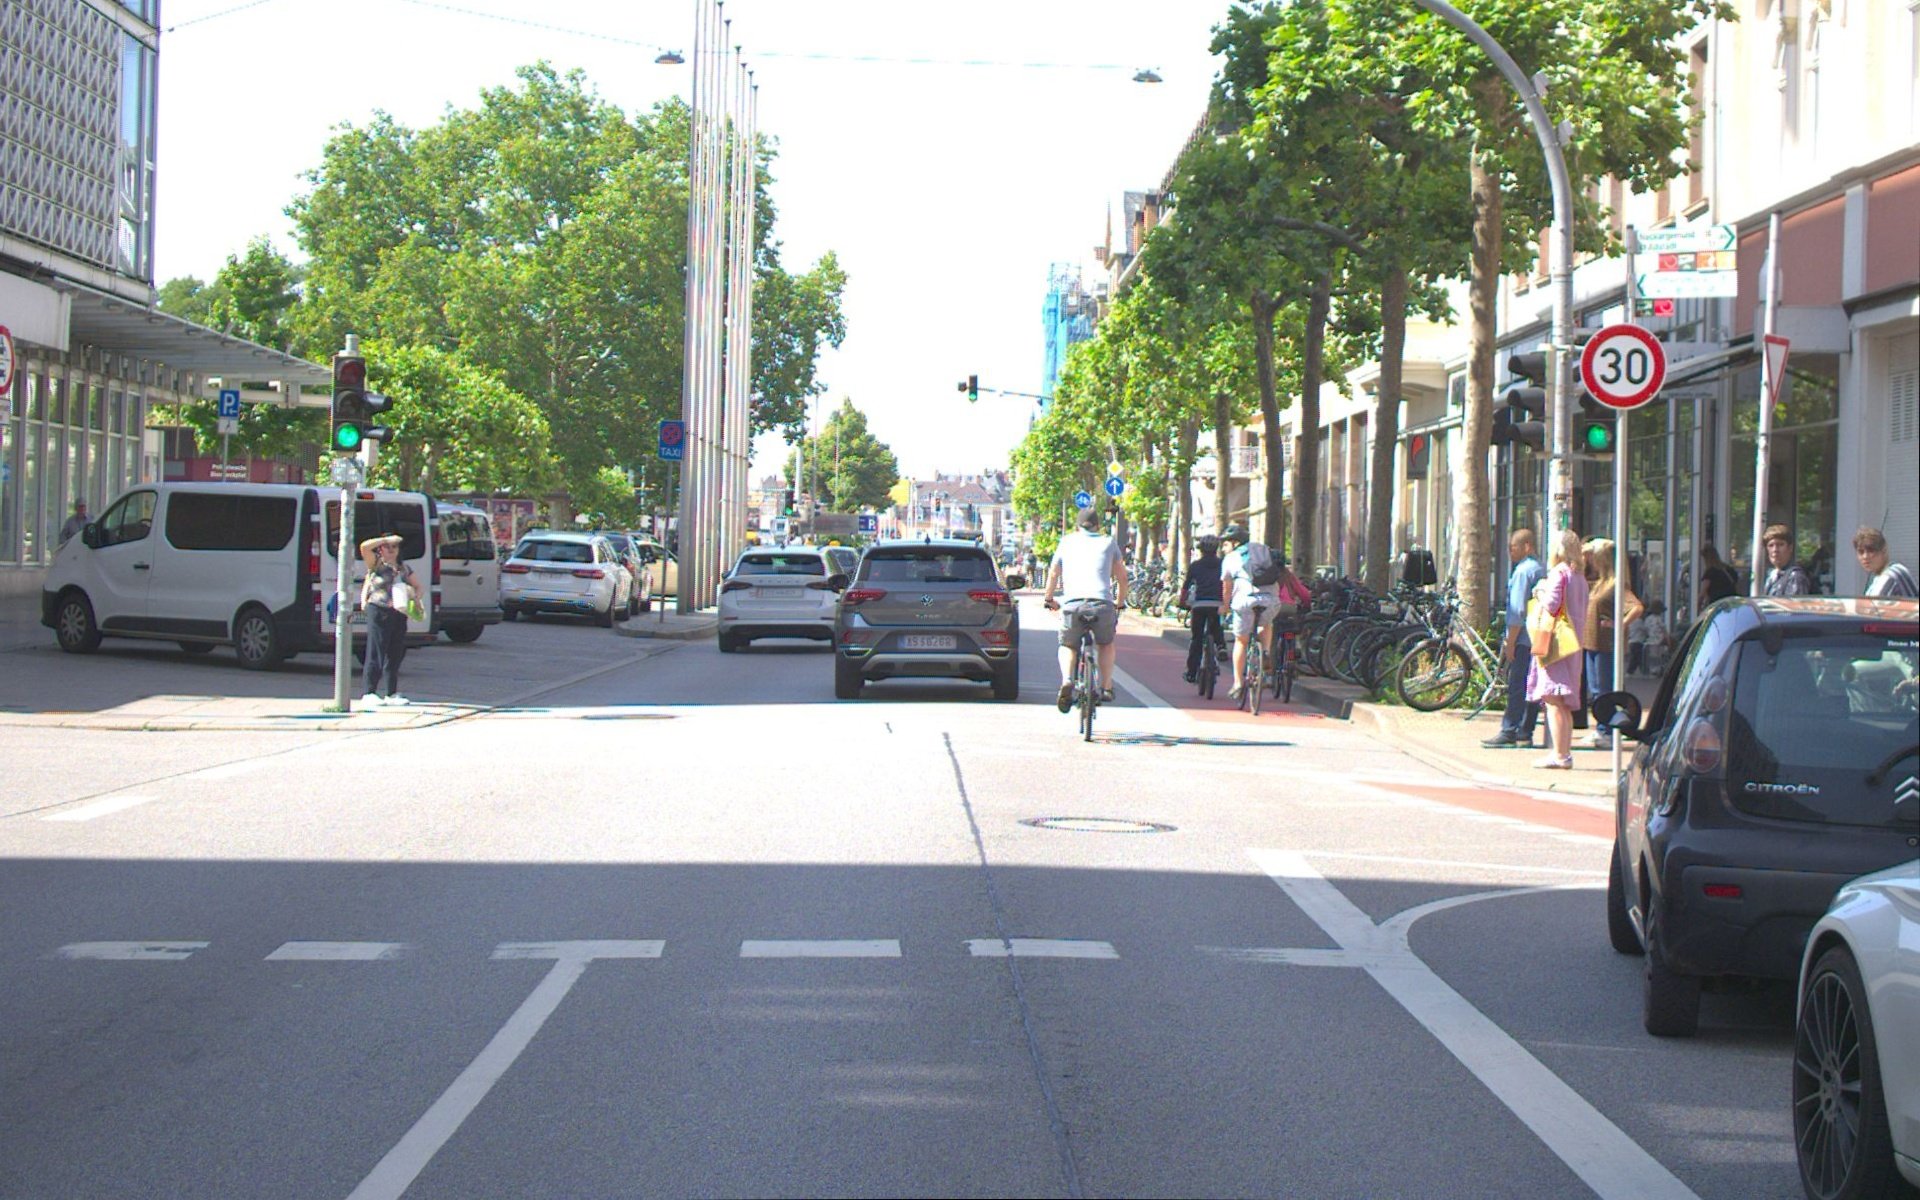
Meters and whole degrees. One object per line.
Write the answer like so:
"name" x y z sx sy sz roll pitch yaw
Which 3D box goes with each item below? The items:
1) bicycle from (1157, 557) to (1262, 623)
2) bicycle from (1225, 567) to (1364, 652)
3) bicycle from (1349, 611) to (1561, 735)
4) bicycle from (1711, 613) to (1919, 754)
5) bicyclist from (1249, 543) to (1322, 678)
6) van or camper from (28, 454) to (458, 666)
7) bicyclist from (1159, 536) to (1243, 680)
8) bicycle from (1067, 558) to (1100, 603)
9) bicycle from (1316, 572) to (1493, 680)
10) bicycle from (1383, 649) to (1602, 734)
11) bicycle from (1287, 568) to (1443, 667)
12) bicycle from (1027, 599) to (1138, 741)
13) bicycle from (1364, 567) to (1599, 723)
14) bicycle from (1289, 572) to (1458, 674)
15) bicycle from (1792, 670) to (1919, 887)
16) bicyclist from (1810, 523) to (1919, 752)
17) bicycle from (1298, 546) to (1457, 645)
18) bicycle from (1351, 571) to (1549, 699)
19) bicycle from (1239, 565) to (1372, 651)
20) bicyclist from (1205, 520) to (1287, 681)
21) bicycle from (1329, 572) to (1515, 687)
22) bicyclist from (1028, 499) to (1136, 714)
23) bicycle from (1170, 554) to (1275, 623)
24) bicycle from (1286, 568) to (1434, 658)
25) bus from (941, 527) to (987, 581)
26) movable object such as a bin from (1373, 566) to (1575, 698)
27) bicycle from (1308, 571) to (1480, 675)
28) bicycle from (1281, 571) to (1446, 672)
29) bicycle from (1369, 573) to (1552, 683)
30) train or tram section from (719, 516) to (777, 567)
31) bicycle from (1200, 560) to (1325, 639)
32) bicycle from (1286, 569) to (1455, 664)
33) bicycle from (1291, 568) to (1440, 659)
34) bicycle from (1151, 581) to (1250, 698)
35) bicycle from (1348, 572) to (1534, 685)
"bicycle" 4.631 -0.192 63.807 1.841 1.123 0.497 3 1 11
"bicycle" 4.671 0.134 48.048 1.840 1.089 0.564 3 0 0
"bicycle" 4.733 0.705 32.963 1.851 0.395 1.019 9 -34 4
"bicycle" 5.670 0.524 21.494 1.821 0.841 0.501 1 1 1
"bicyclist" 3.348 0.105 35.413 0.600 1.353 0.721 2 0 -3
"van or camper" -7.790 -0.461 37.143 4.656 2.006 1.995 4 2 39
"bicyclist" 2.483 0.076 35.459 0.698 1.436 0.791 3 1 -3
"bicycle" 2.811 -0.452 78.522 0.647 0.994 2.031 2 1 0
"bicycle" 4.826 0.278 37.415 1.840 1.123 0.643 1 0 2
"bicycle" 4.963 0.863 32.162 1.136 0.432 1.856 -10 -3 -26
"bicycle" 5.076 0.219 43.101 1.841 1.123 0.530 3 0 13
"bicycle" 0.937 0.522 26.785 0.774 1.002 2.329 1 1 0
"bicycle" 4.577 0.377 30.227 1.855 1.184 0.715 6 5 38
"bicycle" 4.717 0.258 39.275 1.840 1.123 0.666 1 0 2
"bicycle" 5.840 1.003 18.486 2.567 1.123 0.627 2 0 19
"bicyclist" 5.818 0.231 21.492 0.859 1.406 0.501 1 1 1
"bicycle" 4.972 -0.059 40.980 1.840 1.123 0.679 2 1 6
"bicycle" 4.809 0.334 33.758 1.841 1.123 0.345 4 2 15
"bicycle" 4.698 0.115 46.693 1.840 1.123 0.594 1 0 -36
"bicyclist" 2.680 -0.002 32.296 0.630 1.476 1.198 1 1 -1
"bicycle" 4.704 0.295 35.071 1.840 1.123 0.666 1 0 7
"bicyclist" 0.944 0.039 26.759 0.774 1.629 0.851 1 1 0
"bicycle" 4.798 -0.212 62.739 1.840 1.193 0.673 2 1 7
"bicycle" 5.156 0.165 44.360 1.840 1.123 0.448 1 0 3
"bus" 0.270 -3.204 242.792 2.995 3.581 11.745 2 0 -1
"movable object such as a bin" 5.112 0.312 34.197 1.852 1.185 0.652 4 1 15
"bicycle" 4.844 0.254 38.462 1.840 1.123 0.666 1 0 2
"bicycle" 4.684 0.250 39.969 1.840 1.123 0.530 1 0 2
"bicycle" 5.323 0.290 36.625 1.840 1.123 0.666 1 0 2
"train or tram section" -14.694 -4.056 238.769 2.613 3.337 11.001 2 1 3
"bicycle" 4.810 -0.010 54.714 1.839 1.123 0.497 4 2 -8
"bicycle" 5.063 0.205 42.387 1.987 1.123 0.761 1 0 13
"bicycle" 5.175 0.172 43.901 1.840 1.123 0.448 1 0 3
"bicycle" 2.469 0.390 35.433 0.698 1.123 2.082 3 1 -3
"bicycle" 5.005 0.293 35.838 1.840 1.123 0.666 1 0 2
